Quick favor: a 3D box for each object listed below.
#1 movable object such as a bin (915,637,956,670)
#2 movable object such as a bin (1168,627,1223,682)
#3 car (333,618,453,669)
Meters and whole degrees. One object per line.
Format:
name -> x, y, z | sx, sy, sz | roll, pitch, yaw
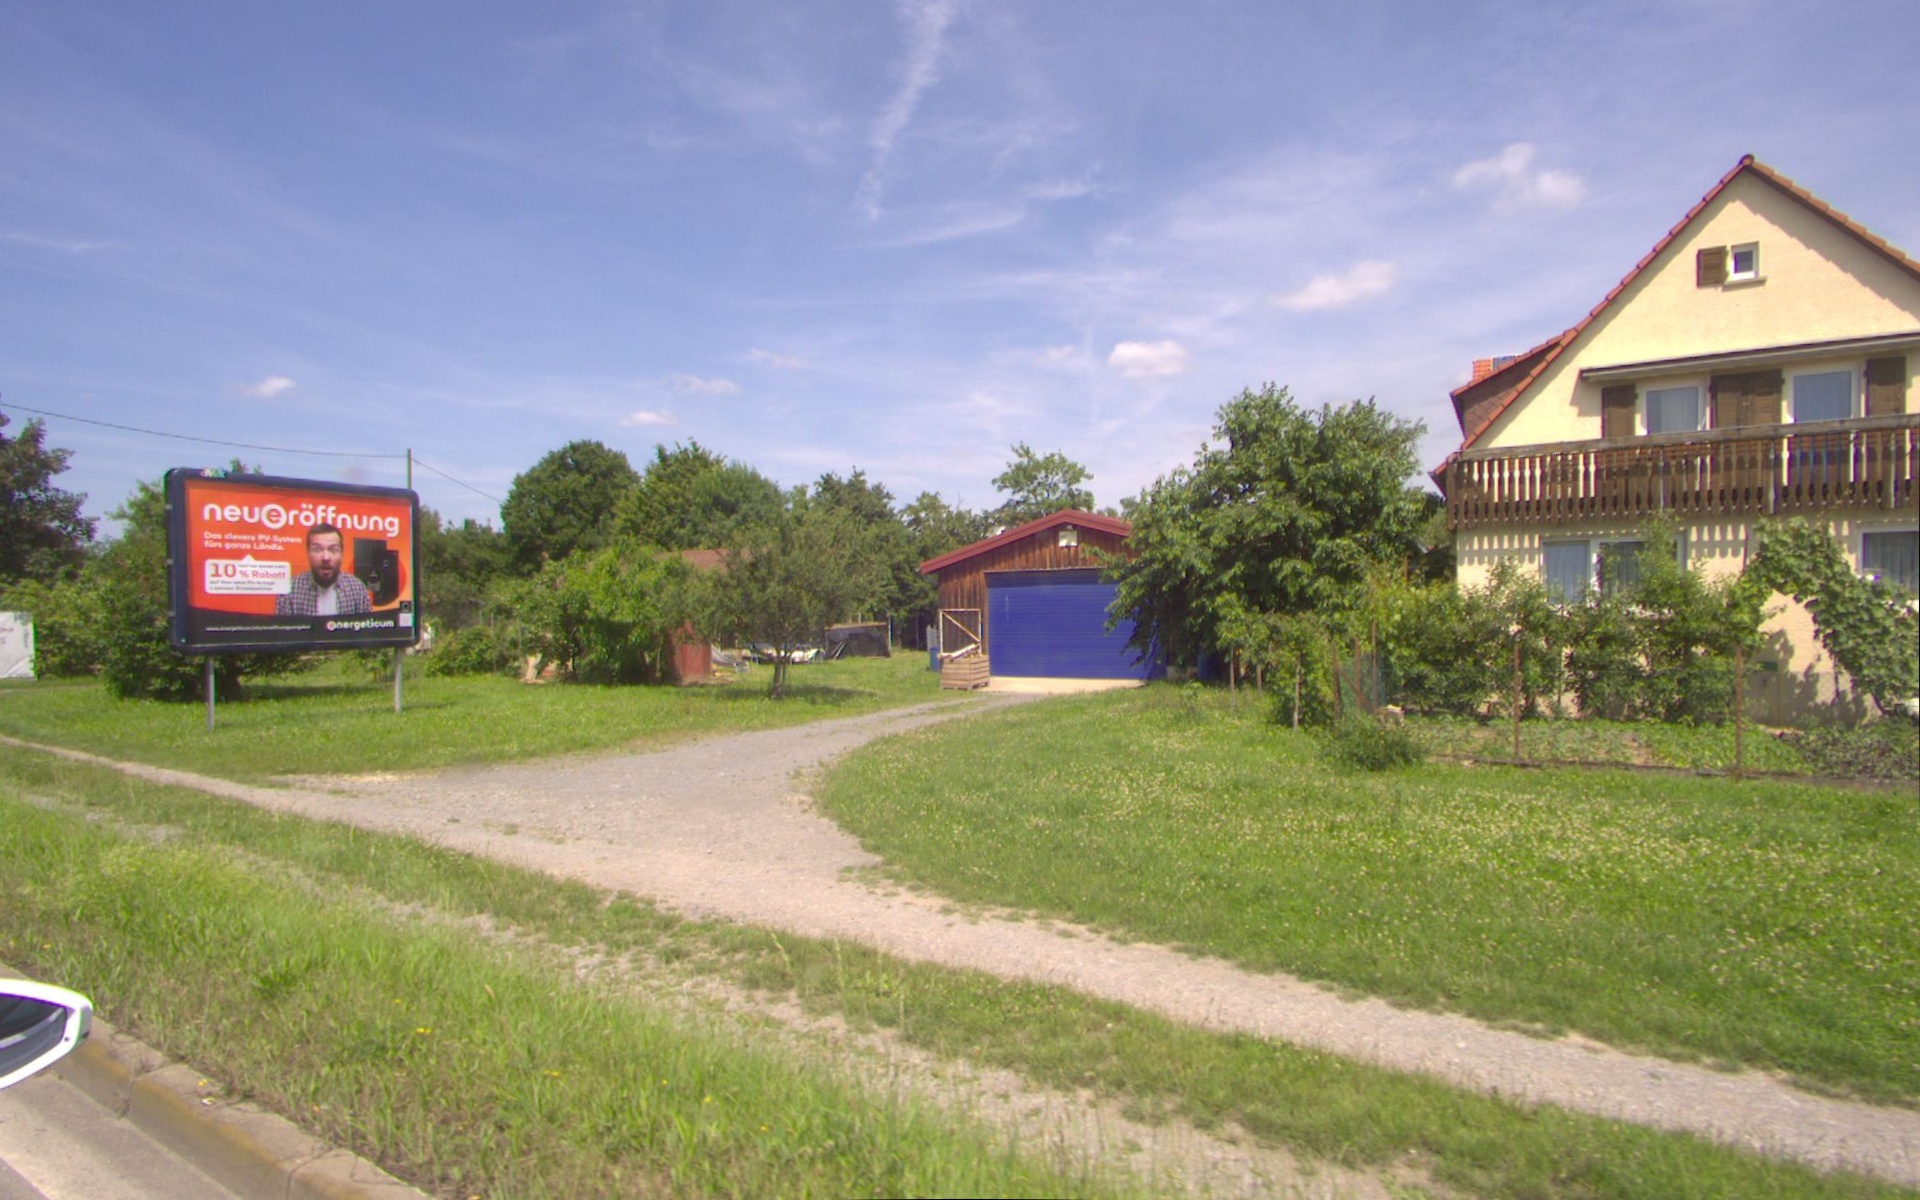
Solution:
movable object such as a bin -> -0.810, 1.751, 32.926 | 1.045, 1.045, 1.041 | 0, -3, 18
movable object such as a bin -> 6.326, 1.436, 26.885 | 1.049, 1.415, 1.271 | 0, -1, 34
car -> -23.973, 1.817, 42.446 | 1.976, 2.039, 3.971 | 0, -2, 39
